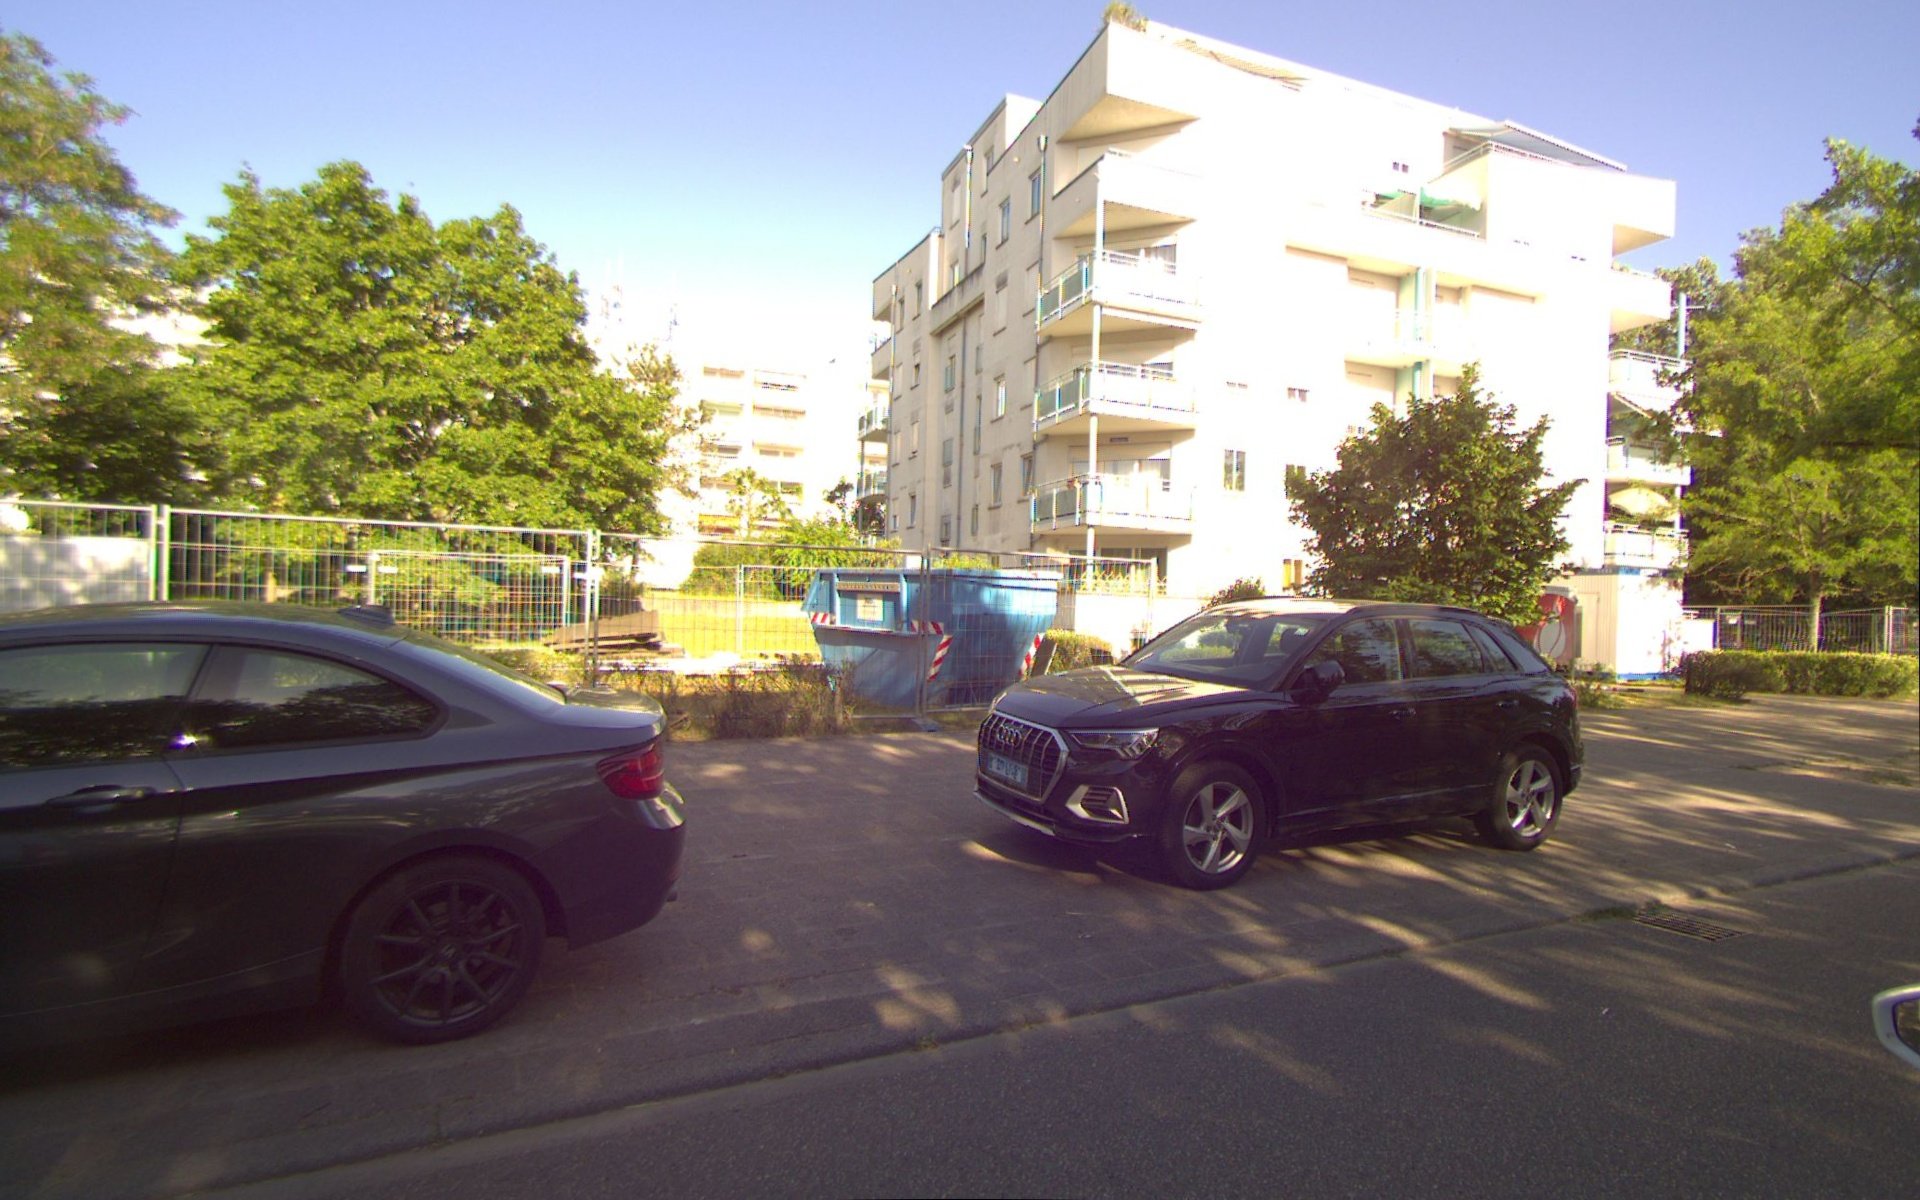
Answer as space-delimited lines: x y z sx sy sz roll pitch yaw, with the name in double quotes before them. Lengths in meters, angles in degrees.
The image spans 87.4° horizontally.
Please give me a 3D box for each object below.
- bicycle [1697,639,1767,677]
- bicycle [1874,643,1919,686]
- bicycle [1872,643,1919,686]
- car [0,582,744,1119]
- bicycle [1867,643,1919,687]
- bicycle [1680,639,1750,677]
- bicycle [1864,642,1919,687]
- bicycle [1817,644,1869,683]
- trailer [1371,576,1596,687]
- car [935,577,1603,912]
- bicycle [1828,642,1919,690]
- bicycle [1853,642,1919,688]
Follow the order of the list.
"bicycle" 22.989 1.717 29.957 0.394 1.040 1.693 2 -1 -20
"bicycle" 24.493 1.653 25.463 0.397 1.040 1.900 3 -1 -38
"bicycle" 24.125 1.634 25.169 0.397 1.040 1.823 3 -1 -38
"car" -3.027 0.695 3.556 4.088 1.452 1.708 2 1 -30
"bicycle" 23.785 1.621 24.914 0.397 1.040 1.844 3 -1 -38
"bicycle" 22.348 1.696 29.754 0.394 1.040 1.693 2 -1 -20
"bicycle" 23.417 1.601 24.606 0.397 1.040 1.824 3 -1 -38
"bicycle" 24.447 1.755 27.803 1.677 1.040 0.398 3 -1 -24
"trailer" 11.083 0.664 21.280 4.284 2.149 1.859 2 1 -23
"car" 2.107 0.756 6.708 4.166 1.643 1.769 2 1 -27
"bicycle" 22.101 1.571 24.122 0.397 1.040 1.854 3 -1 -38
"bicycle" 22.989 1.583 24.419 0.397 1.040 1.841 3 -1 -38
